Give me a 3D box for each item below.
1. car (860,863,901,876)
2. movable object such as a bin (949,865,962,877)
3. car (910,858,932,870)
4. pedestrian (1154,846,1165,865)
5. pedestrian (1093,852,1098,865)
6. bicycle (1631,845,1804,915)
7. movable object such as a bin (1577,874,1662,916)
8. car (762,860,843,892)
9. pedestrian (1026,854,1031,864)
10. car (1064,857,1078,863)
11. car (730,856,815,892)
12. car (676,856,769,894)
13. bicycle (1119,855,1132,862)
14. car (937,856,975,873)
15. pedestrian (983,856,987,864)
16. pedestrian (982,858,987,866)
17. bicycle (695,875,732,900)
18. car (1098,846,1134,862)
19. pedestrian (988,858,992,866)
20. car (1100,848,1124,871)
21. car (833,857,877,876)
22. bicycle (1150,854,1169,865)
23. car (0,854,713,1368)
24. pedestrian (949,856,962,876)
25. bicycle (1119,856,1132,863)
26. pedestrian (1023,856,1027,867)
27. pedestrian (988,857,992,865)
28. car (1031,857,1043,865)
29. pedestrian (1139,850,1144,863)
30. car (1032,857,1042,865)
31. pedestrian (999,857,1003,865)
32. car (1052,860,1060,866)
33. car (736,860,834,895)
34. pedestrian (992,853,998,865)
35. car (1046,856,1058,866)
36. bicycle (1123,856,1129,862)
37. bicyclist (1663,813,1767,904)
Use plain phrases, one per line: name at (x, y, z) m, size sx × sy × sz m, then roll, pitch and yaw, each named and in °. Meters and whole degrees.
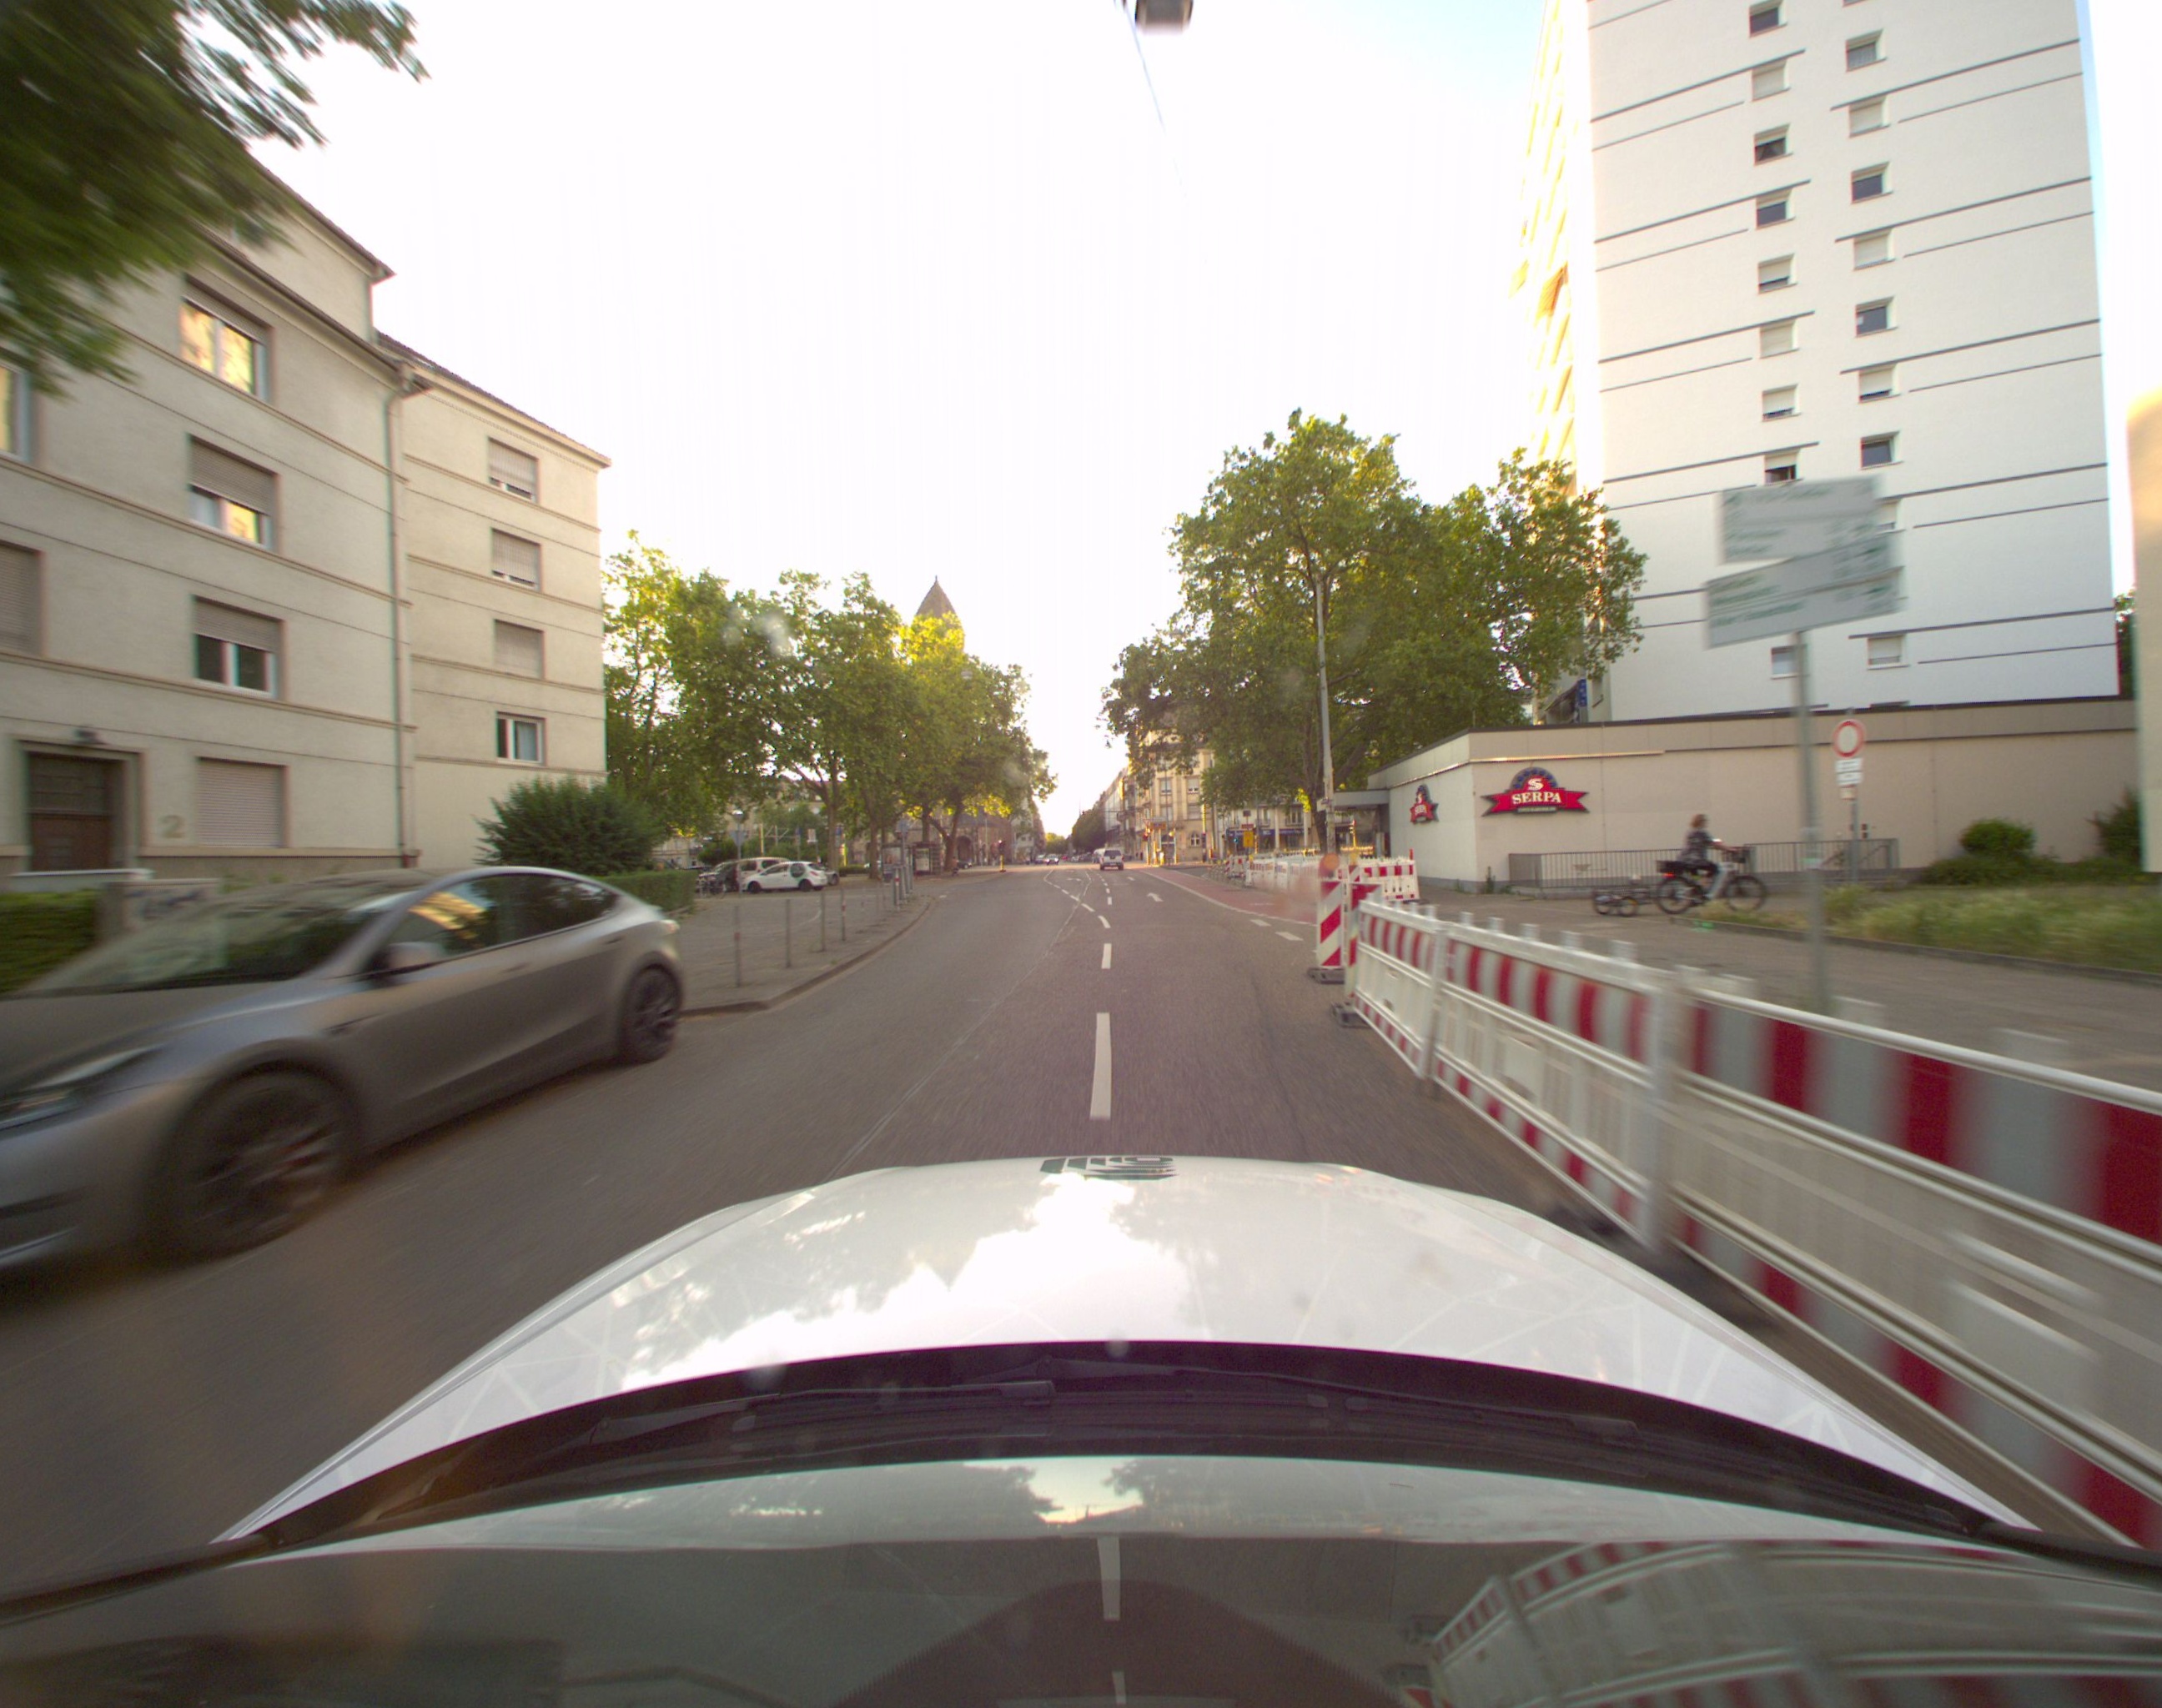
car at (-25.003, 1.936, 101.566) m, size 4.586 × 1.530 × 2.012 m, roll -2°, pitch 0°, yaw 24°
movable object such as a bin at (-10.337, 1.396, 67.124) m, size 0.733 × 0.890 × 0.986 m, roll -2°, pitch 0°, yaw 14°
car at (-26.648, 1.678, 135.661) m, size 1.691 × 1.909 × 3.515 m, roll -2°, pitch 0°, yaw 26°
pedestrian at (7.472, 0.121, 77.817) m, size 0.796 × 1.768 × 0.717 m, roll -2°, pitch 0°, yaw -15°
pedestrian at (2.201, 0.695, 121.956) m, size 0.590 × 1.886 × 0.648 m, roll -2°, pitch 0°, yaw 4°
bicycle at (11.660, 0.463, 14.994) m, size 2.339 × 1.172 × 0.944 m, roll -2°, pitch 0°, yaw 6°
movable object such as a bin at (10.016, 0.755, 15.181) m, size 0.985 × 0.689 × 0.944 m, roll -2°, pitch 0°, yaw 7°
car at (-15.098, 1.160, 44.452) m, size 1.805 × 1.481 × 4.651 m, roll -2°, pitch 1°, yaw 16°
pedestrian at (-9.653, 0.901, 149.271) m, size 0.588 × 1.886 × 0.556 m, roll -2°, pitch 0°, yaw 23°
car at (-2.848, 1.711, 238.362) m, size 3.979 × 1.816 × 1.997 m, roll -2°, pitch 0°, yaw -4°
car at (-17.546, 1.106, 46.521) m, size 1.803 × 1.800 × 4.656 m, roll -2°, pitch 1°, yaw 21°
car at (-20.241, 1.156, 46.245) m, size 2.060 × 1.841 × 4.656 m, roll -2°, pitch 1°, yaw 21°
bicycle at (6.759, 0.677, 124.244) m, size 1.908 × 0.968 × 0.546 m, roll -2°, pitch 0°, yaw 0°
car at (-15.549, 1.310, 101.387) m, size 4.612 × 1.841 × 2.080 m, roll -2°, pitch 1°, yaw -7°
pedestrian at (-16.118, 0.969, 136.730) m, size 0.568 × 1.320 × 0.488 m, roll -2°, pitch 0°, yaw 14°
pedestrian at (-16.047, 1.362, 135.584) m, size 0.568 × 1.291 × 0.488 m, roll -2°, pitch 0°, yaw 14°
bicycle at (-16.143, 1.469, 35.786) m, size 1.801 × 1.042 × 0.482 m, roll -2°, pitch 0°, yaw 30°
car at (5.605, 0.022, 130.807) m, size 5.854 × 2.288 × 2.048 m, roll -2°, pitch 0°, yaw -41°
pedestrian at (-15.234, 1.296, 135.833) m, size 0.493 × 1.286 × 0.495 m, roll -2°, pitch 0°, yaw 19°
car at (2.610, 0.430, 68.354) m, size 1.859 × 1.815 × 4.001 m, roll -3°, pitch 0°, yaw 1°
car at (-24.797, 1.337, 89.404) m, size 2.059 × 1.841 × 4.658 m, roll -2°, pitch 1°, yaw 24°
bicycle at (7.452, 0.544, 77.316) m, size 1.688 × 0.968 × 0.545 m, roll -2°, pitch 0°, yaw -5°
car at (-4.343, 0.878, 4.869) m, size 1.946 × 1.616 × 4.607 m, roll -4°, pitch 0°, yaw 2°
pedestrian at (-10.484, 1.016, 68.070) m, size 0.733 × 1.629 × 0.688 m, roll -2°, pitch 0°, yaw 14°
bicycle at (6.801, 0.793, 124.522) m, size 1.908 × 0.968 × 0.546 m, roll -2°, pitch 0°, yaw 0°
pedestrian at (-10.279, 1.399, 149.463) m, size 0.588 × 1.886 × 0.588 m, roll -2°, pitch 0°, yaw 22°
pedestrian at (-15.293, 1.119, 136.418) m, size 0.499 × 1.280 × 0.489 m, roll -2°, pitch 0°, yaw -22°
car at (-8.525, 1.353, 157.562) m, size 1.991 × 1.651 × 3.814 m, roll 0°, pitch 0°, yaw -6°
pedestrian at (8.877, 0.376, 119.925) m, size 0.590 × 1.886 × 0.648 m, roll -2°, pitch 0°, yaw 4°
car at (-8.938, 1.396, 165.290) m, size 1.991 × 1.651 × 3.814 m, roll 0°, pitch 0°, yaw -6°
pedestrian at (-13.931, 1.253, 141.214) m, size 0.568 × 1.291 × 0.488 m, roll -2°, pitch 0°, yaw 14°
car at (-6.346, 2.247, 207.105) m, size 1.991 × 1.506 × 3.814 m, roll 0°, pitch 0°, yaw -6°
car at (-14.350, 1.103, 39.681) m, size 3.974 × 1.519 × 2.000 m, roll -2°, pitch 0°, yaw 0°
pedestrian at (-14.087, 0.851, 133.284) m, size 0.587 × 1.886 × 0.557 m, roll -2°, pitch 0°, yaw 28°
car at (-4.873, 1.113, 135.625) m, size 1.779 × 1.651 × 3.814 m, roll 0°, pitch 0°, yaw -6°
bicycle at (7.042, 0.800, 126.664) m, size 0.540 × 0.968 × 1.929 m, roll -2°, pitch 0°, yaw 16°
bicyclist at (11.644, 0.082, 15.000) m, size 1.136 × 1.582 × 0.944 m, roll -2°, pitch 0°, yaw 7°
